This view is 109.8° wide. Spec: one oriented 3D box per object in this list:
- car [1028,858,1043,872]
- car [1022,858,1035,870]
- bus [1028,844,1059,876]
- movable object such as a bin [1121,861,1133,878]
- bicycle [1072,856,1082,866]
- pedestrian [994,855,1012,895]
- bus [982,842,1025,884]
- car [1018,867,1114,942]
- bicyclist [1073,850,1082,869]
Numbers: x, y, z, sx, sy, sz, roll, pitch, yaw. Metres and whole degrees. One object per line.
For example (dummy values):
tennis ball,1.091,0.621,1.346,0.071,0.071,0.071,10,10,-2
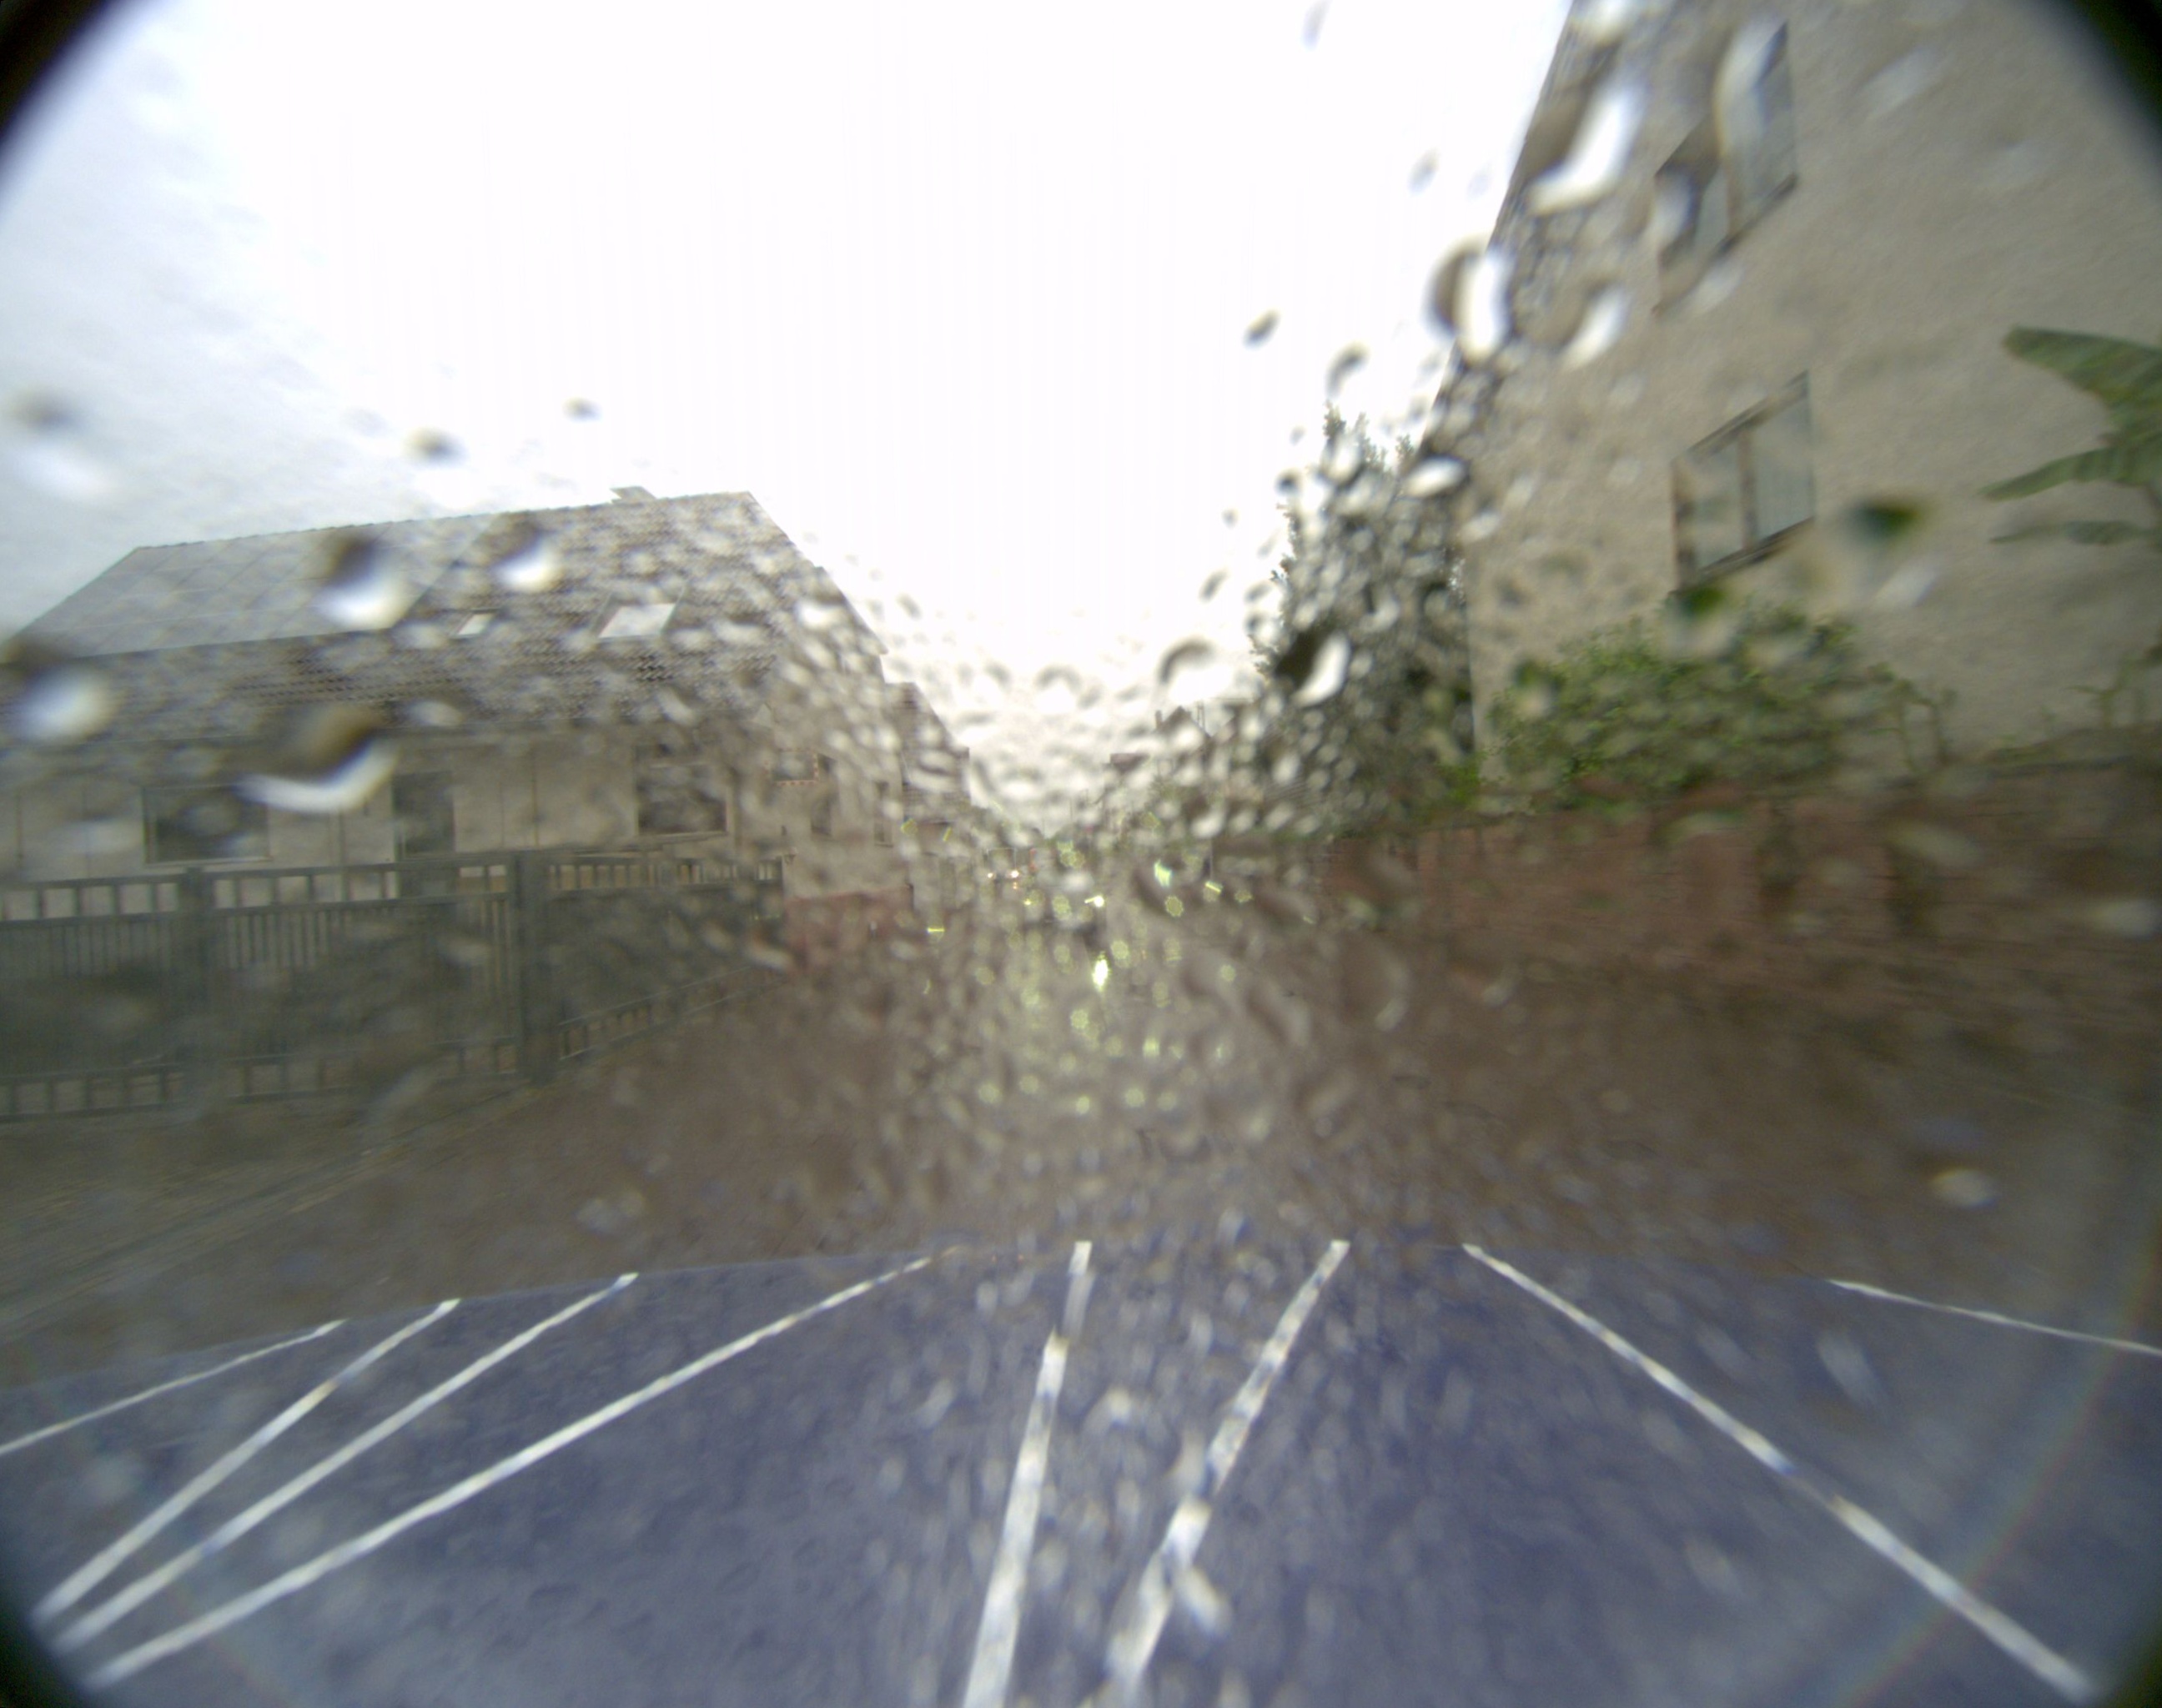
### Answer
car,-7.433,1.818,124.431,1.999,2.002,4.241,-5,1,-7
car,-9.860,1.783,142.244,1.999,2.002,4.241,-5,1,-6
bus,-3.875,0.613,80.355,2.814,2.922,11.939,-5,0,-2
movable object such as a bin,2.603,0.884,42.975,0.539,0.925,0.544,-5,1,-9
bicycle,-0.354,0.642,72.098,0.663,0.865,1.934,-5,-2,-7
pedestrian,-3.416,0.913,33.270,0.696,1.722,0.820,-4,1,-6
bus,-7.354,0.786,71.807,3.442,3.391,13.863,-4,0,-6
car,-0.473,1.041,17.341,1.781,1.348,4.186,-4,0,-6
bicyclist,-0.363,0.508,72.106,0.658,1.759,0.703,-5,-1,-6
